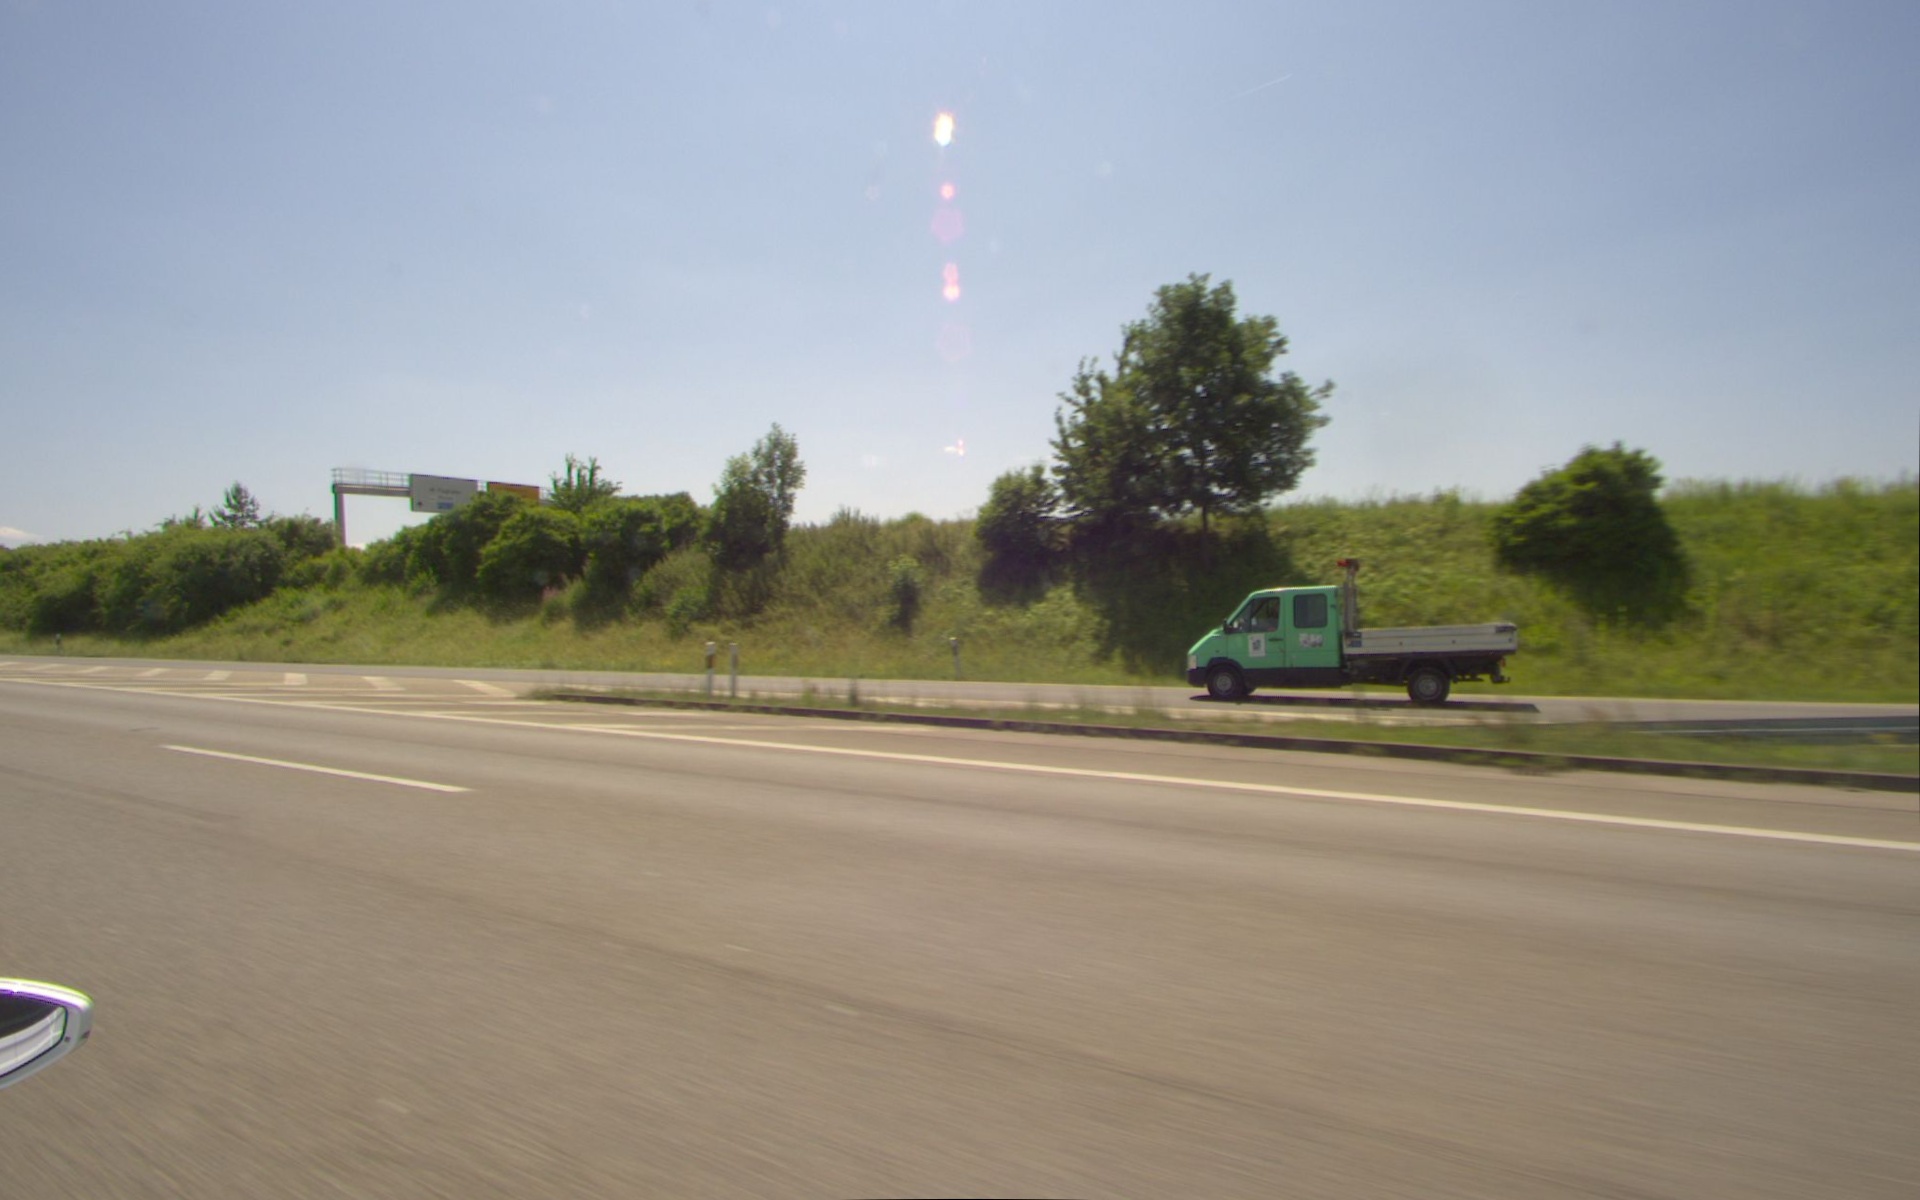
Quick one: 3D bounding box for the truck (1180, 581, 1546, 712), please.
[{"bbox_3d":[7.343,0.806,18.627,6.023,2.119,2.163,-1,0,28],"label":"truck"}]
